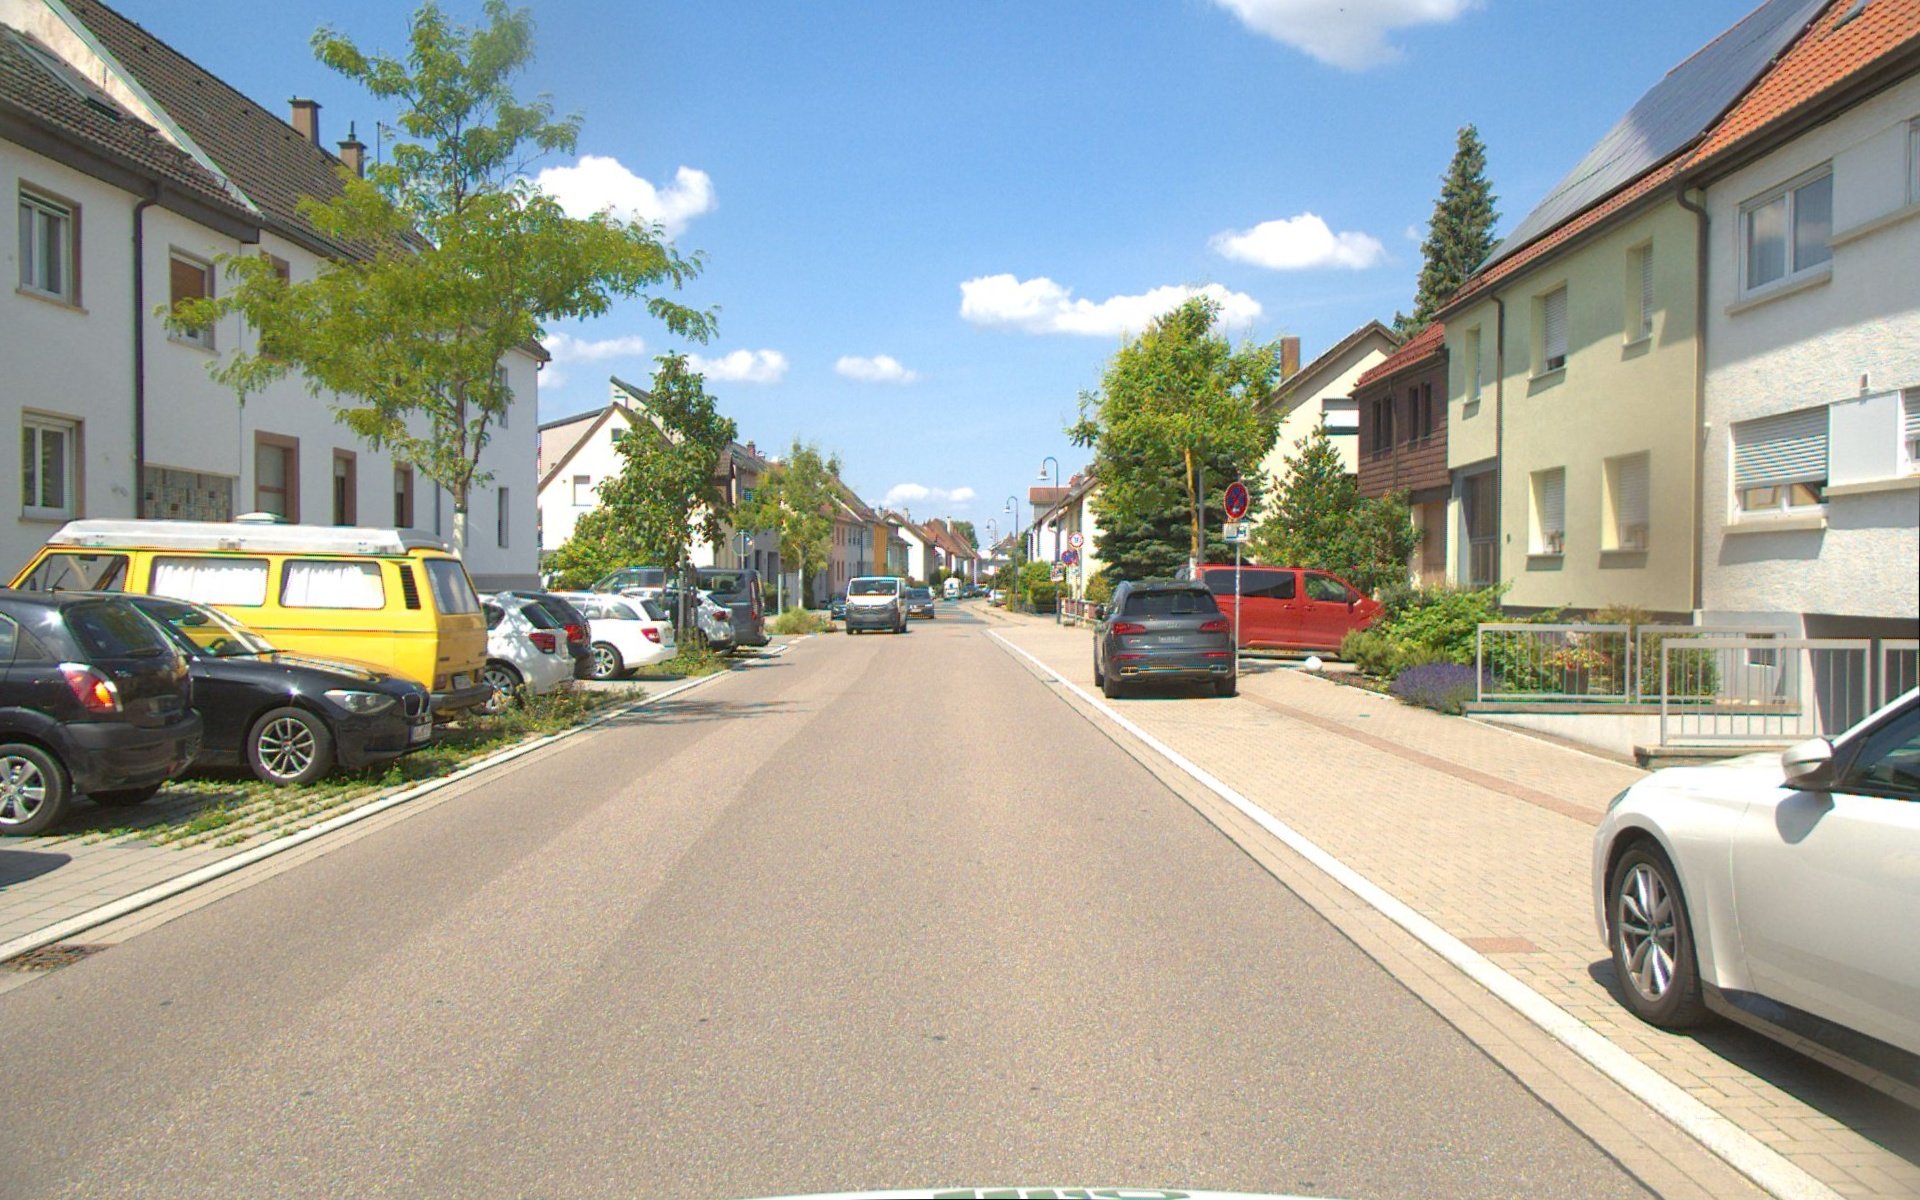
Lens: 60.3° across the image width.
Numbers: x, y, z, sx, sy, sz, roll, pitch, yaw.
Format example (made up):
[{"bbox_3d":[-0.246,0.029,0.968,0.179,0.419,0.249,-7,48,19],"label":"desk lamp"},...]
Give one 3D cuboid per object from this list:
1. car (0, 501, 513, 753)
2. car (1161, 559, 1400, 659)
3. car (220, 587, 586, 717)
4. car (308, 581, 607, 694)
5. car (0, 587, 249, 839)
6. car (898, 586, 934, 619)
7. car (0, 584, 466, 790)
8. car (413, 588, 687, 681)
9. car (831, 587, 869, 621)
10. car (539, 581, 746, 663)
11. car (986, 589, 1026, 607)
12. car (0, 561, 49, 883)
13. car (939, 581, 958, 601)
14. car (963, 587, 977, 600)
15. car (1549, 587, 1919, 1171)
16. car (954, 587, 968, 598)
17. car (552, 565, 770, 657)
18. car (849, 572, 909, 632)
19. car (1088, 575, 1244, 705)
[{"bbox_3d":[-6.771,0.239,15.868,4.417,2.215,1.925,1,0,-1],"label":"car"},{"bbox_3d":[6.599,0.189,34.380,4.526,1.927,2.020,1,-1,-2],"label":"car"},{"bbox_3d":[-6.717,0.623,20.333,3.997,1.493,1.750,1,0,-9],"label":"car"},{"bbox_3d":[-6.976,0.521,23.310,3.807,1.493,1.655,1,0,-9],"label":"car"},{"bbox_3d":[-6.821,0.655,10.640,3.716,1.485,1.754,1,0,-4],"label":"car"},{"bbox_3d":[-2.190,0.115,81.947,1.727,1.549,4.047,-2,0,-2],"label":"car"},{"bbox_3d":[-6.176,0.644,13.192,3.928,1.485,1.755,1,0,-1],"label":"car"},{"bbox_3d":[-6.952,0.579,28.348,4.206,1.493,1.774,1,0,1],"label":"car"},{"bbox_3d":[-5.495,0.166,83.070,1.780,1.458,4.137,4,1,-3],"label":"car"},{"bbox_3d":[-6.702,0.463,35.233,4.101,1.596,1.772,1,0,-5],"label":"car"},{"bbox_3d":[4.109,-0.200,147.967,3.451,1.490,1.628,1,0,0],"label":"car"},{"bbox_3d":[-6.940,0.591,7.848,4.167,1.639,1.842,1,0,-2],"label":"car"},{"bbox_3d":[-1.381,-1.030,201.818,2.002,2.352,3.772,1,0,3],"label":"car"},{"bbox_3d":[1.385,-0.941,231.467,1.656,1.689,3.772,1,0,3],"label":"car"},{"bbox_3d":[3.345,0.713,4.384,1.795,1.491,4.517,0,0,-3],"label":"car"},{"bbox_3d":[0.174,-1.004,223.977,1.656,1.530,3.772,1,0,3],"label":"car"},{"bbox_3d":[-6.788,0.247,37.876,4.604,1.957,1.937,1,0,-1],"label":"car"},{"bbox_3d":[-2.784,0.087,57.911,1.982,1.984,4.896,0,0,-2],"label":"car"},{"bbox_3d":[2.958,0.506,24.595,1.826,1.664,4.447,-2,1,1],"label":"car"}]
